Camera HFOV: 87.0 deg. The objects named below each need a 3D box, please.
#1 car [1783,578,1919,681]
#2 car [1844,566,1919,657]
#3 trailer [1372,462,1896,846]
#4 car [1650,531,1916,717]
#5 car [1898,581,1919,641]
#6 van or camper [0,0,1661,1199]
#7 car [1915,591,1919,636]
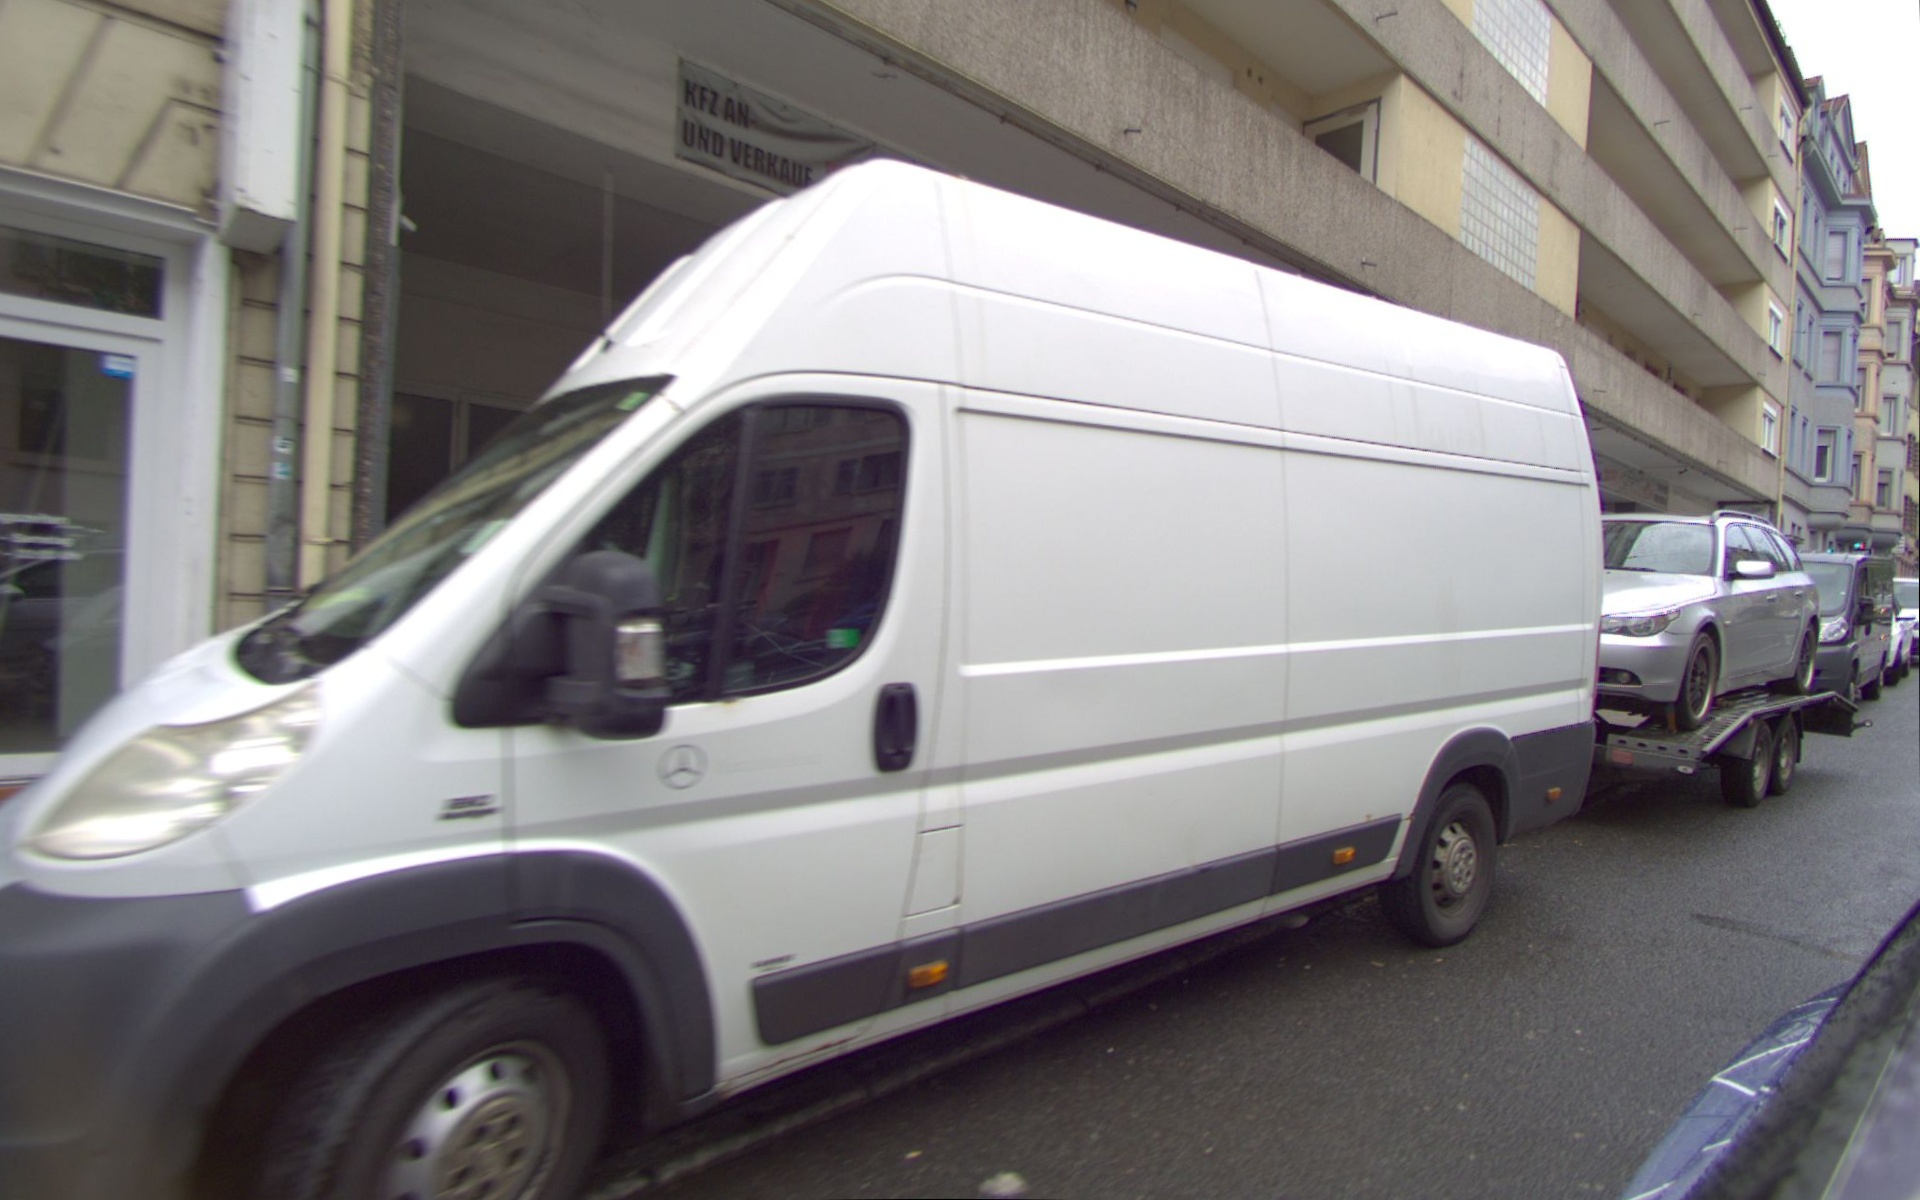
[{"bbox_3d":[17.195,0.468,19.252,4.201,1.660,1.749,-1,4,-43],"label":"car"},{"bbox_3d":[22.976,0.251,24.327,4.740,1.979,1.993,-1,4,-42],"label":"car"},{"bbox_3d":[5.581,0.272,8.078,4.980,2.178,1.999,1,3,-40],"label":"trailer"},{"bbox_3d":[12.001,0.205,14.593,5.417,2.175,2.157,-1,4,-43],"label":"car"},{"bbox_3d":[28.577,0.347,29.188,4.238,1.616,1.731,-1,6,-42],"label":"car"},{"bbox_3d":[0.233,-0.014,4.096,6.298,2.732,2.192,0,2,-36],"label":"van or camper"},{"bbox_3d":[33.853,0.478,34.324,4.283,1.459,1.730,-1,4,-42],"label":"car"}]
